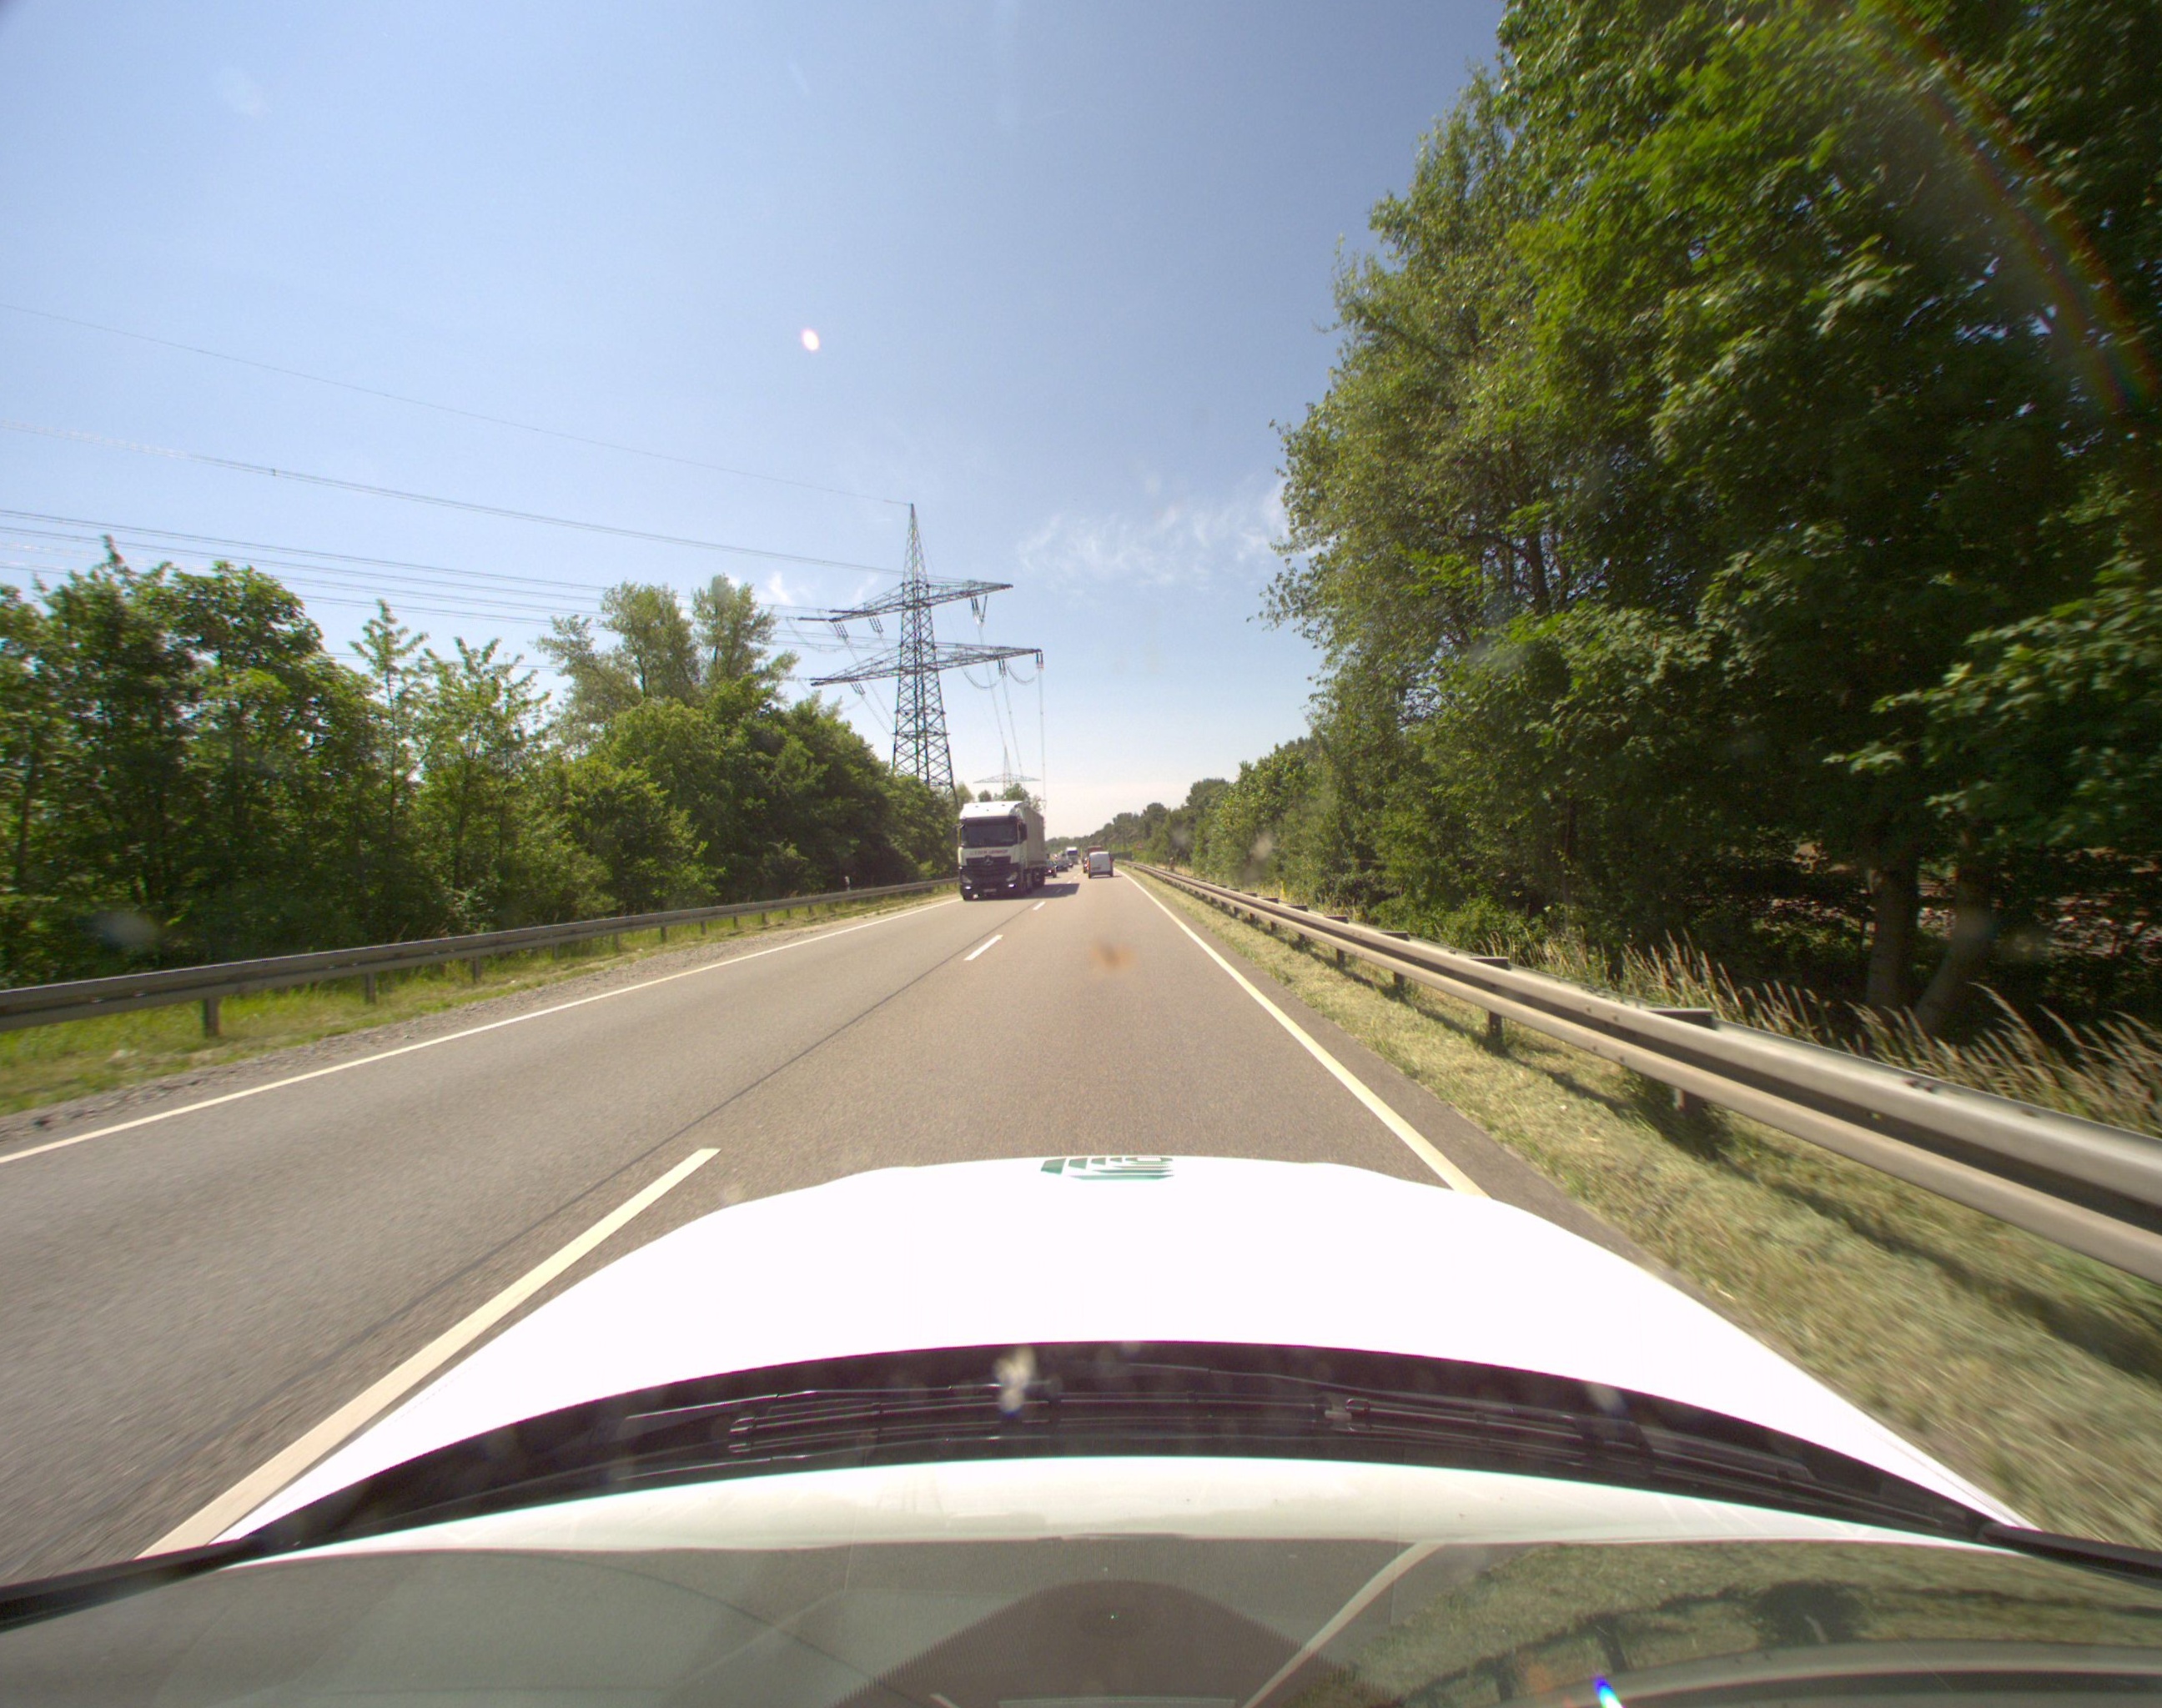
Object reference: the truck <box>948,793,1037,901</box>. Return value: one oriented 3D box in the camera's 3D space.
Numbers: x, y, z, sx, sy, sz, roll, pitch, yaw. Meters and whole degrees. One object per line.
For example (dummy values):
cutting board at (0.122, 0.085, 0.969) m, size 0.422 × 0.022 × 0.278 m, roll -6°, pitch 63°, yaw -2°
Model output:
truck at (-3.577, -0.263, 34.426) m, size 2.753 × 3.999 × 5.909 m, roll -3°, pitch 0°, yaw 1°

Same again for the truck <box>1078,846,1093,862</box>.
truck at (1.116, -0.107, 214.627) m, size 3.393 × 3.854 × 16.807 m, roll -1°, pitch 1°, yaw -2°

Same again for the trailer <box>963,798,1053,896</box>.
trailer at (-3.374, -0.275, 41.653) m, size 2.753 × 3.999 × 13.690 m, roll -3°, pitch 0°, yaw 2°

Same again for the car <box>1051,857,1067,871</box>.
car at (-2.501, 1.162, 92.098) m, size 1.629 × 1.437 × 4.414 m, roll -4°, pitch 0°, yaw 0°

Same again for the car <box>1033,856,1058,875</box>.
car at (-2.893, 0.899, 66.750) m, size 1.627 × 1.437 × 4.182 m, roll -1°, pitch 0°, yaw 2°

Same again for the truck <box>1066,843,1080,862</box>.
truck at (-1.895, -0.389, 189.730) m, size 2.734 × 4.042 × 9.663 m, roll -5°, pitch 0°, yaw 0°

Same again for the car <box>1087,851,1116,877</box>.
car at (1.427, 0.687, 57.313) m, size 1.868 × 1.741 × 4.001 m, roll -3°, pitch 0°, yaw 1°

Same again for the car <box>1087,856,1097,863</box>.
car at (2.433, 1.213, 181.899) m, size 1.987 × 1.526 × 3.999 m, roll -4°, pitch 0°, yaw 0°

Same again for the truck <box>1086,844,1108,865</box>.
truck at (2.565, 0.031, 135.498) m, size 3.286 × 3.171 × 14.400 m, roll -1°, pitch 1°, yaw -1°
